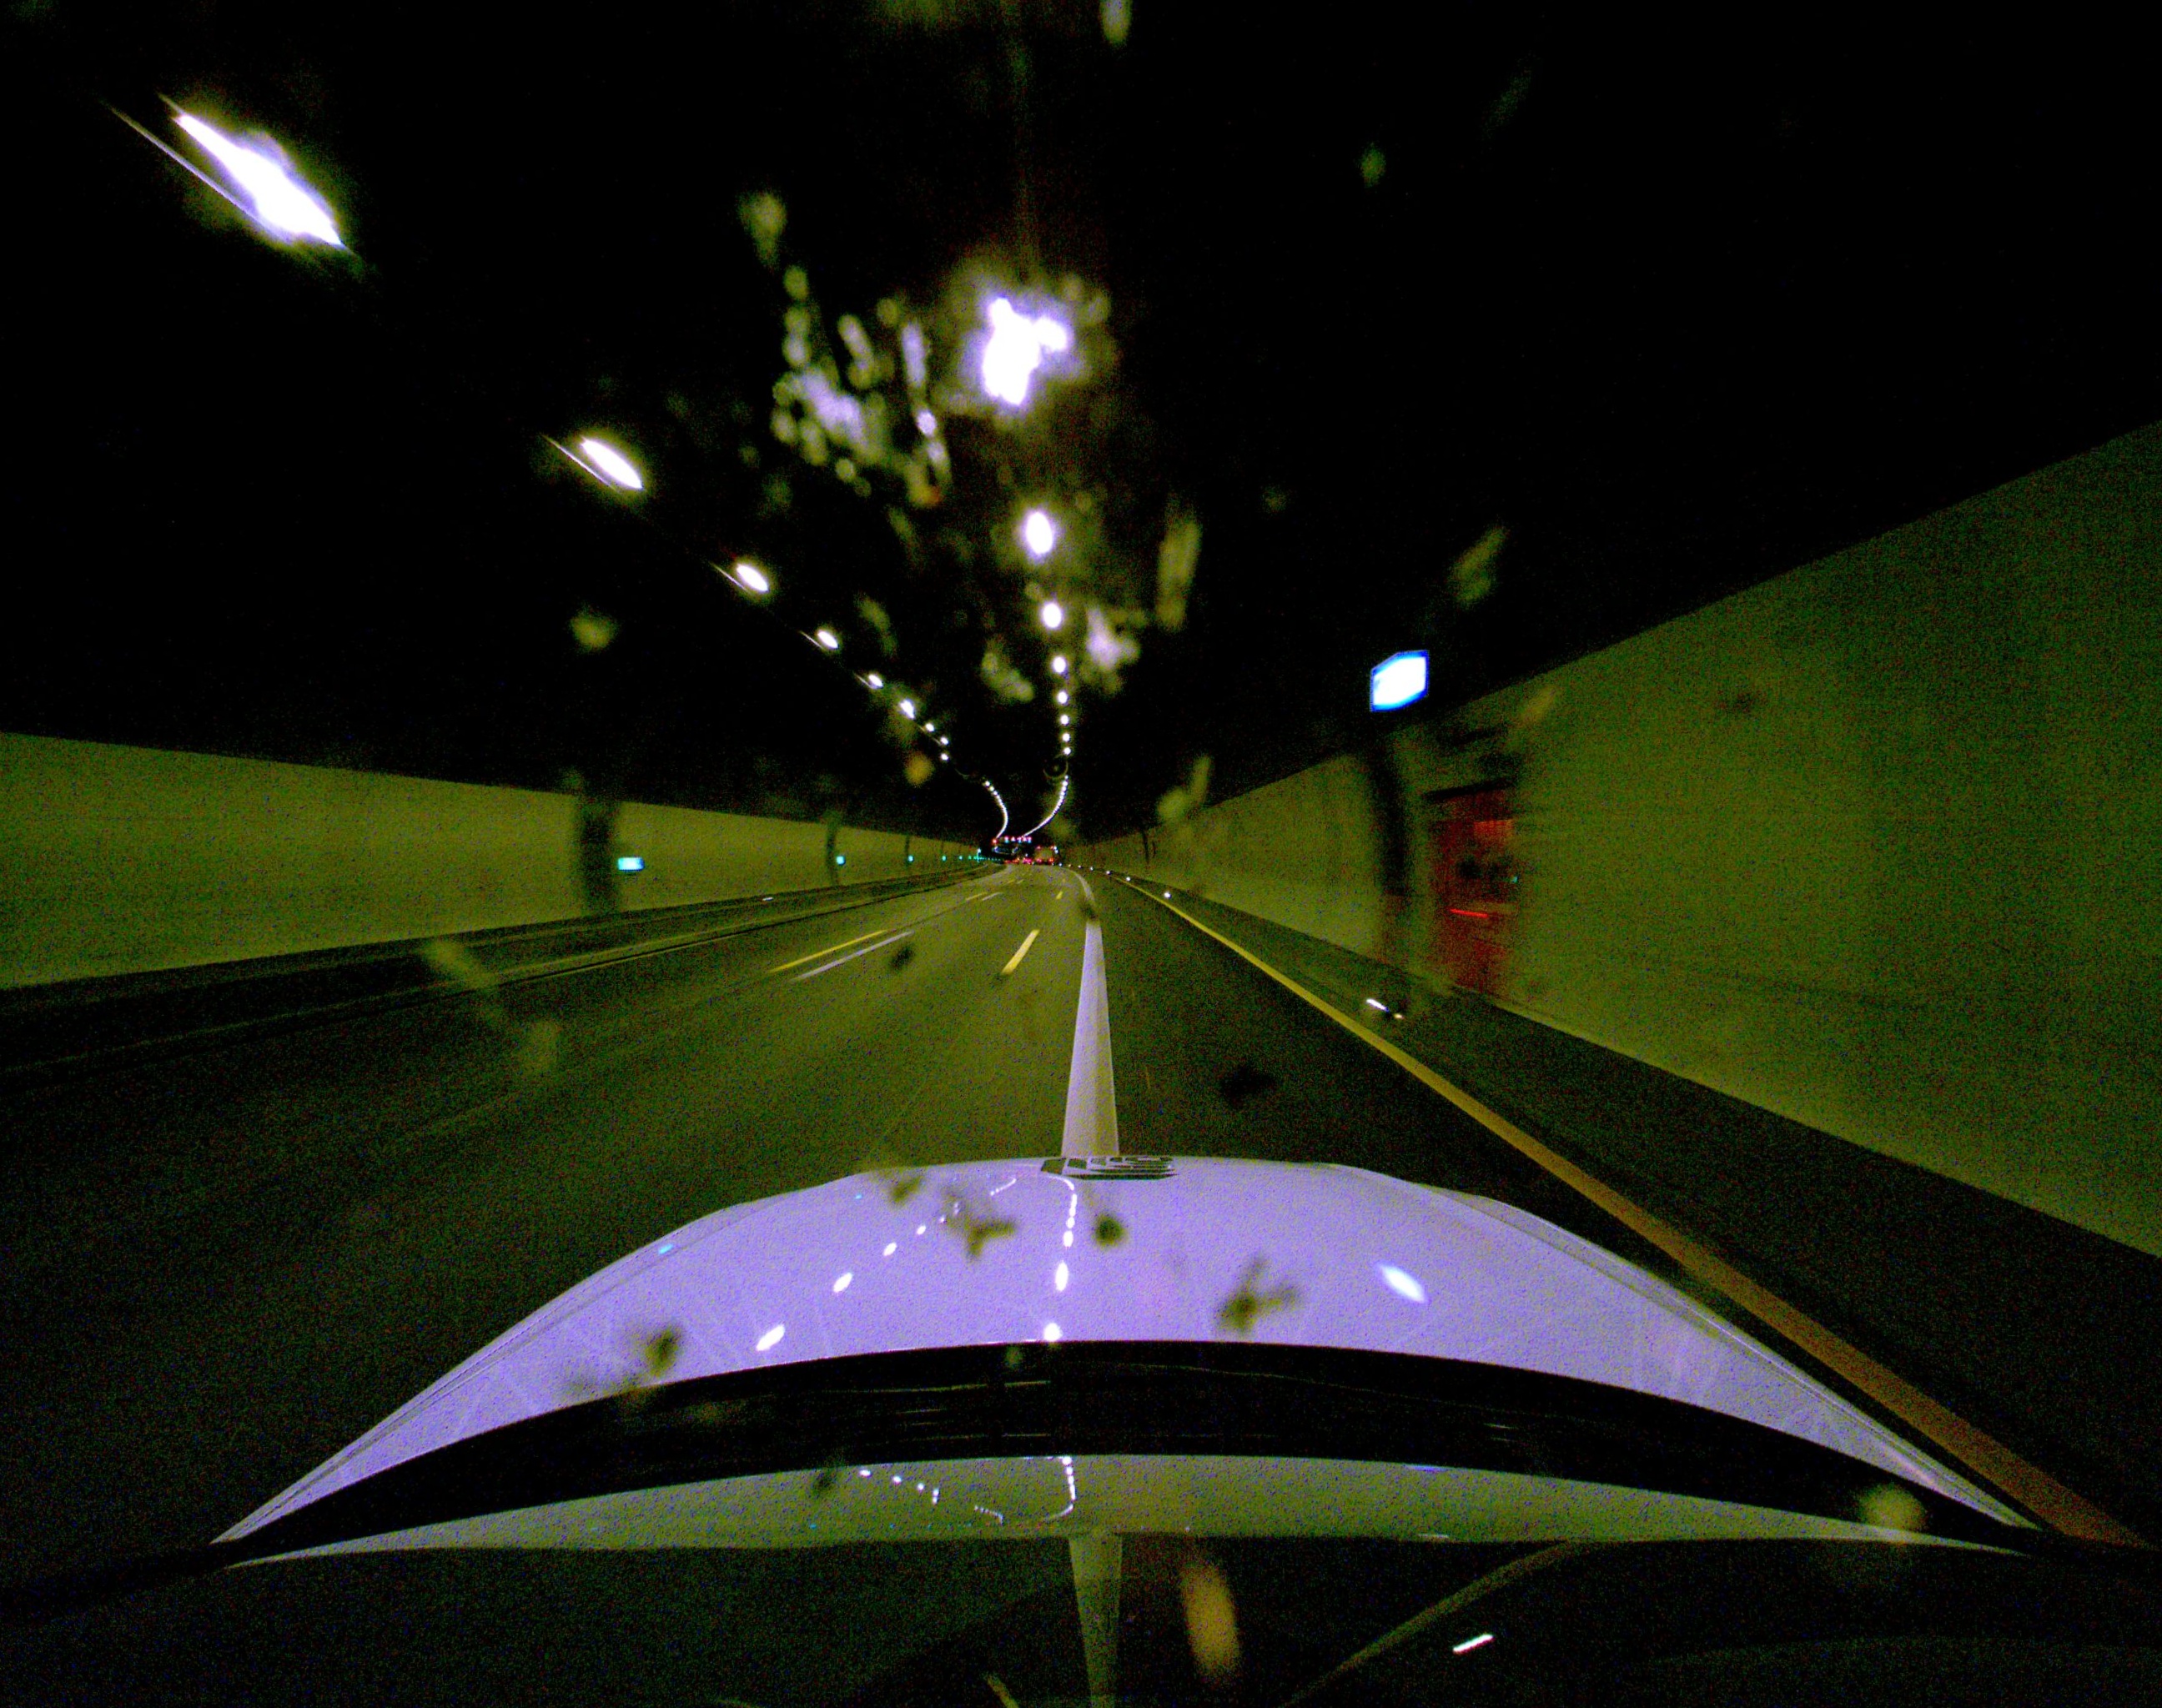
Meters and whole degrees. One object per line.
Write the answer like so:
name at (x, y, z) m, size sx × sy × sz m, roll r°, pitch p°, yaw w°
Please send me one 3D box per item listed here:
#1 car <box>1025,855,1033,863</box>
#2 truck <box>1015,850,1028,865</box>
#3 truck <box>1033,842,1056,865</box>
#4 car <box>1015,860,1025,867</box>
car at (-13.827, 1.341, 217.586) m, size 1.991 × 2.013 × 3.992 m, roll -1°, pitch 0°, yaw -5°
truck at (-18.959, 1.112, 257.458) m, size 3.471 × 4.316 × 10.924 m, roll -2°, pitch 0°, yaw -7°
truck at (-7.158, -0.148, 158.932) m, size 3.471 × 4.316 × 10.924 m, roll -1°, pitch 0°, yaw -7°
car at (-13.709, 2.059, 181.586) m, size 1.992 × 1.582 × 3.989 m, roll -1°, pitch 0°, yaw -8°
